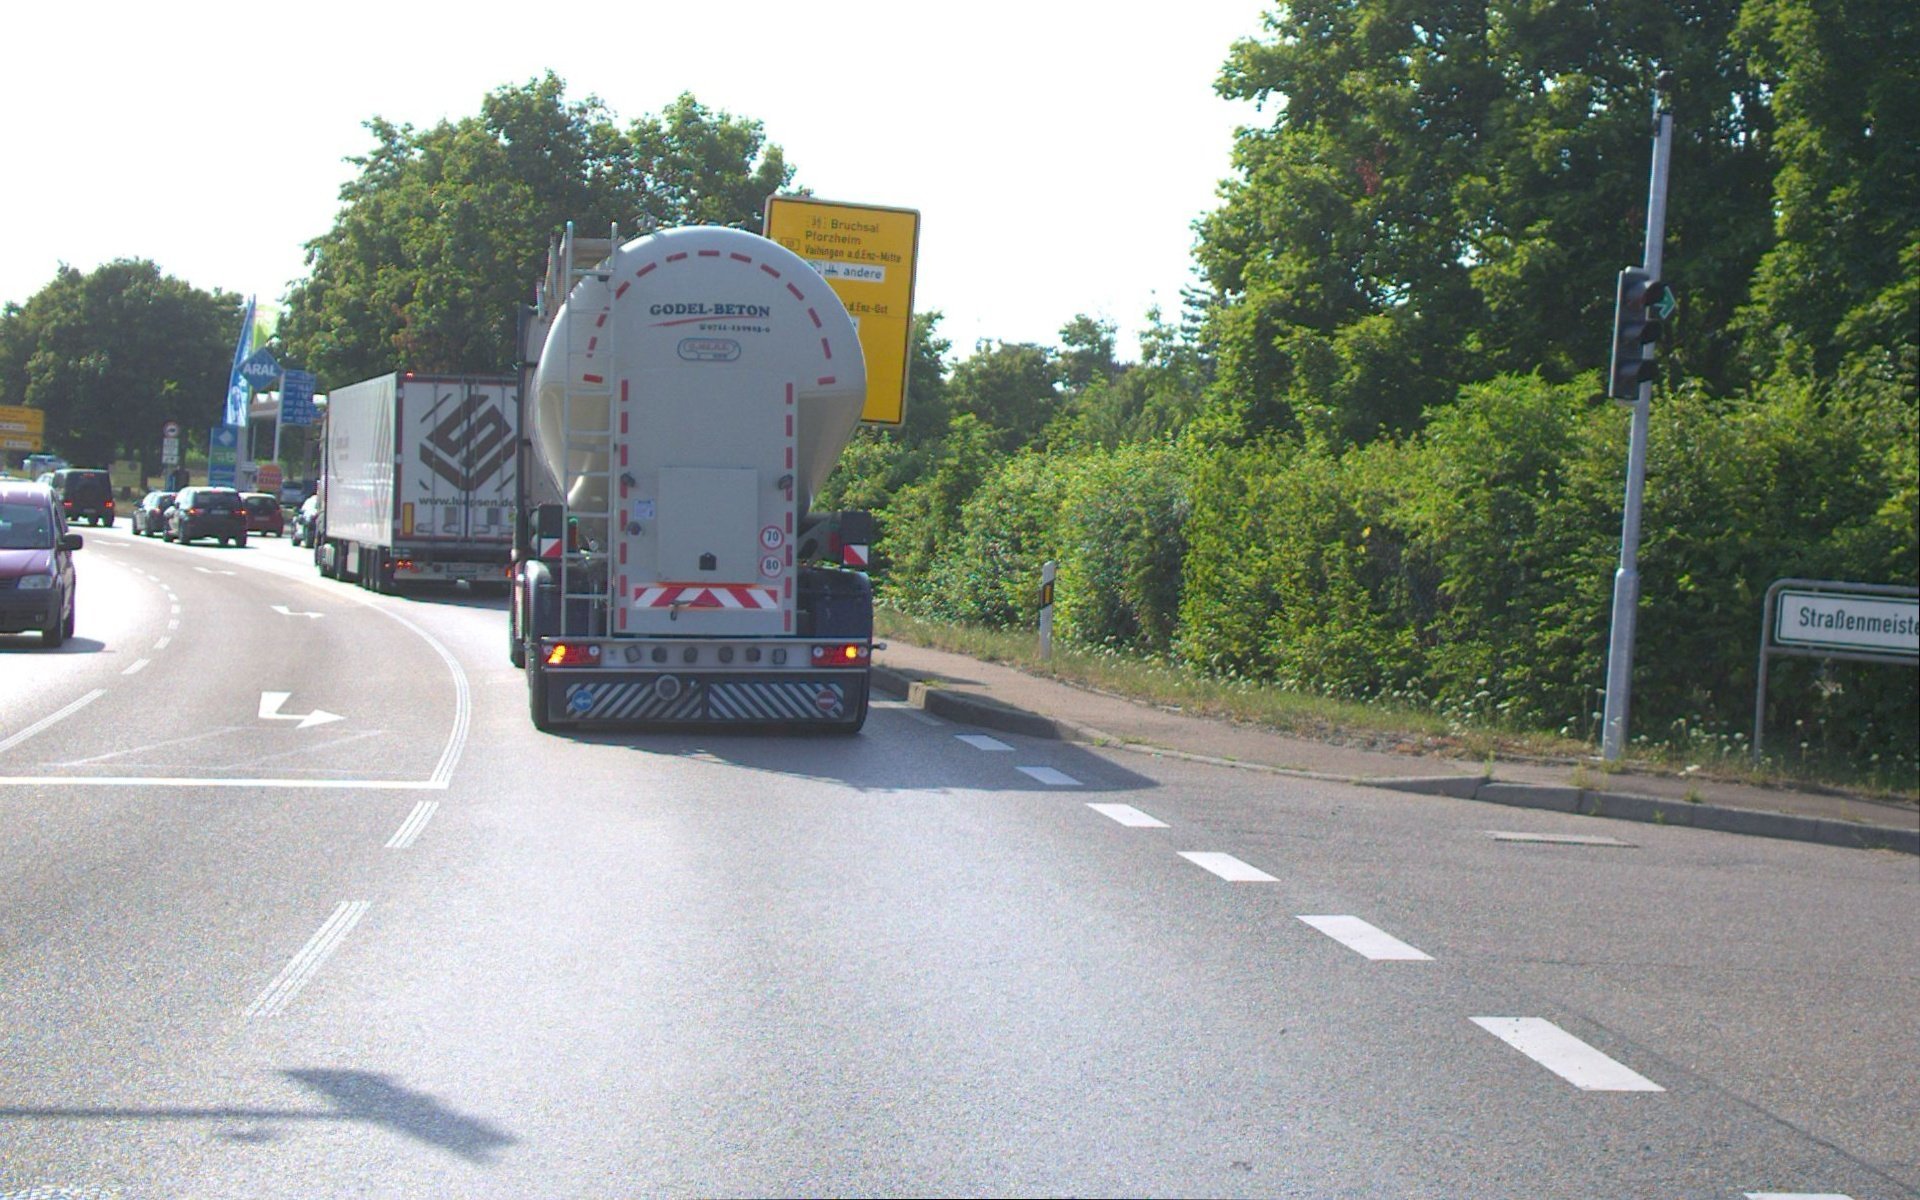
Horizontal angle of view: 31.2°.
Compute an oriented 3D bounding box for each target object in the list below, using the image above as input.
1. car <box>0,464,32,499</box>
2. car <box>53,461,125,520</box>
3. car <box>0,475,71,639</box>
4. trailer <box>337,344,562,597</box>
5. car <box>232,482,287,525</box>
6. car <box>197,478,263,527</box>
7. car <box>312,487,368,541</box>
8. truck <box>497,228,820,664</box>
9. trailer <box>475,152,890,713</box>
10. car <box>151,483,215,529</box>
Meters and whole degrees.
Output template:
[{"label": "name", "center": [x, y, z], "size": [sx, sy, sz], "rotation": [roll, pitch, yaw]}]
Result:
[{"label": "car", "center": [-38.079, -4.741, 136.293], "size": [1.580, 1.336, 3.426], "rotation": [2, 2, -31]}, {"label": "car", "center": [-31.247, -3.939, 123.253], "size": [1.861, 2.006, 3.720], "rotation": [1, 2, -24]}, {"label": "car", "center": [-11.121, -0.537, 39.219], "size": [1.880, 1.769, 4.323], "rotation": [0, 2, -14]}, {"label": "trailer", "center": [-10.226, -2.535, 67.426], "size": [2.954, 4.300, 14.181], "rotation": [3, 2, -13]}, {"label": "car", "center": [-23.758, -3.276, 116.519], "size": [1.674, 1.336, 3.427], "rotation": [3, 2, -13]}, {"label": "car", "center": [-21.717, -2.901, 102.262], "size": [1.580, 1.336, 3.427], "rotation": [2, 2, -17]}, {"label": "car", "center": [-18.543, -2.596, 102.761], "size": [1.420, 1.503, 3.427], "rotation": [3, 2, -13]}, {"label": "truck", "center": [-3.039, -1.493, 34.161], "size": [2.909, 3.992, 4.061], "rotation": [1, 2, -6]}, {"label": "trailer", "center": [-2.563, -1.356, 29.906], "size": [2.909, 3.992, 9.933], "rotation": [1, 2, -6]}, {"label": "car", "center": [-24.822, -3.017, 109.832], "size": [1.580, 1.336, 3.427], "rotation": [2, 2, -19]}]
